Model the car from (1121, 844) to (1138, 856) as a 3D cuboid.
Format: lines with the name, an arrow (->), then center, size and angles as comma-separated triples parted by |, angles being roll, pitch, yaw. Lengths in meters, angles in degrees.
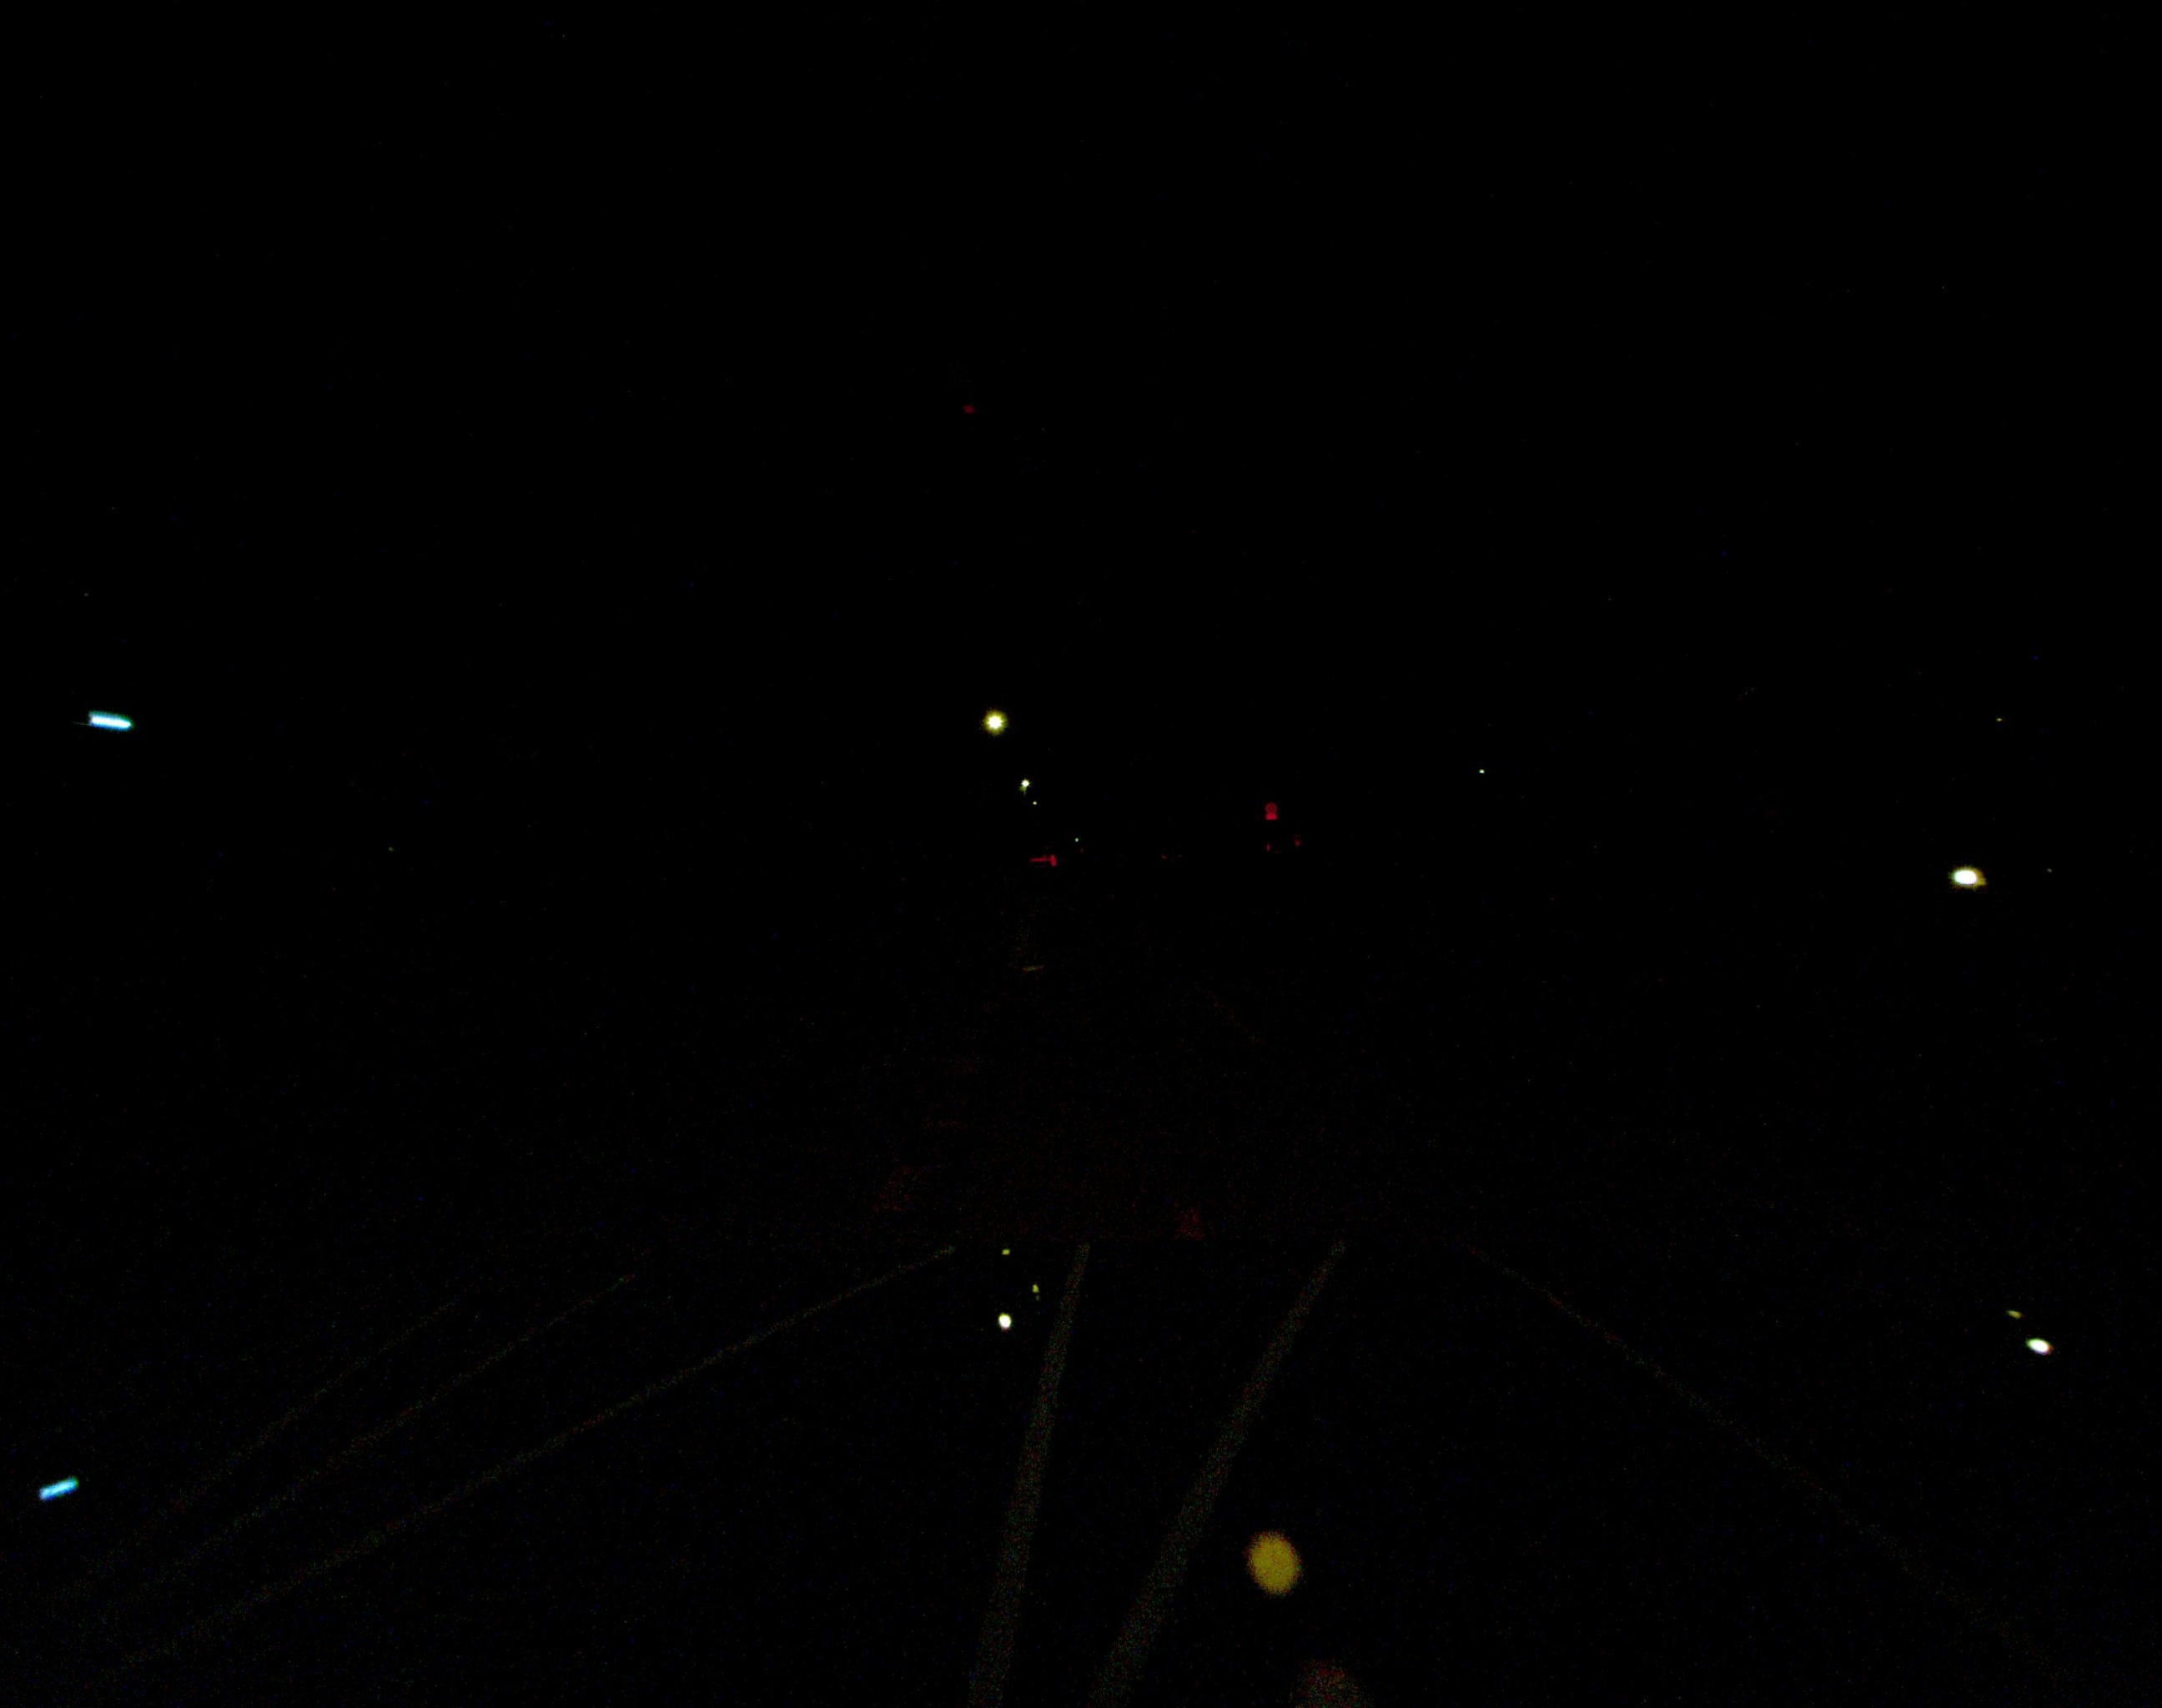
car -> 6.388, -0.572, 100.474 | 1.911, 1.445, 3.999 | -3, 2, 1

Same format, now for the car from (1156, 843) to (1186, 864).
car -> 7.199, -0.043, 61.009 | 1.911, 1.445, 3.999 | -3, 2, 1

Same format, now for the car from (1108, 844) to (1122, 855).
car -> 5.209, -0.742, 116.764 | 1.911, 1.445, 3.999 | -3, 2, 1

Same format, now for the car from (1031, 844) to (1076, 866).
car -> -2.550, 0.053, 70.794 | 3.997, 1.821, 1.912 | -2, 2, 0

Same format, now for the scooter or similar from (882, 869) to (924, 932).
scooter or similar -> -3.804, 0.964, 16.326 | 0.570, 1.271, 1.391 | 0, 0, 0

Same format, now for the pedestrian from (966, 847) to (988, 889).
pedestrian -> -4.730, 0.629, 34.470 | 0.824, 1.809, 0.608 | -3, 2, 1
